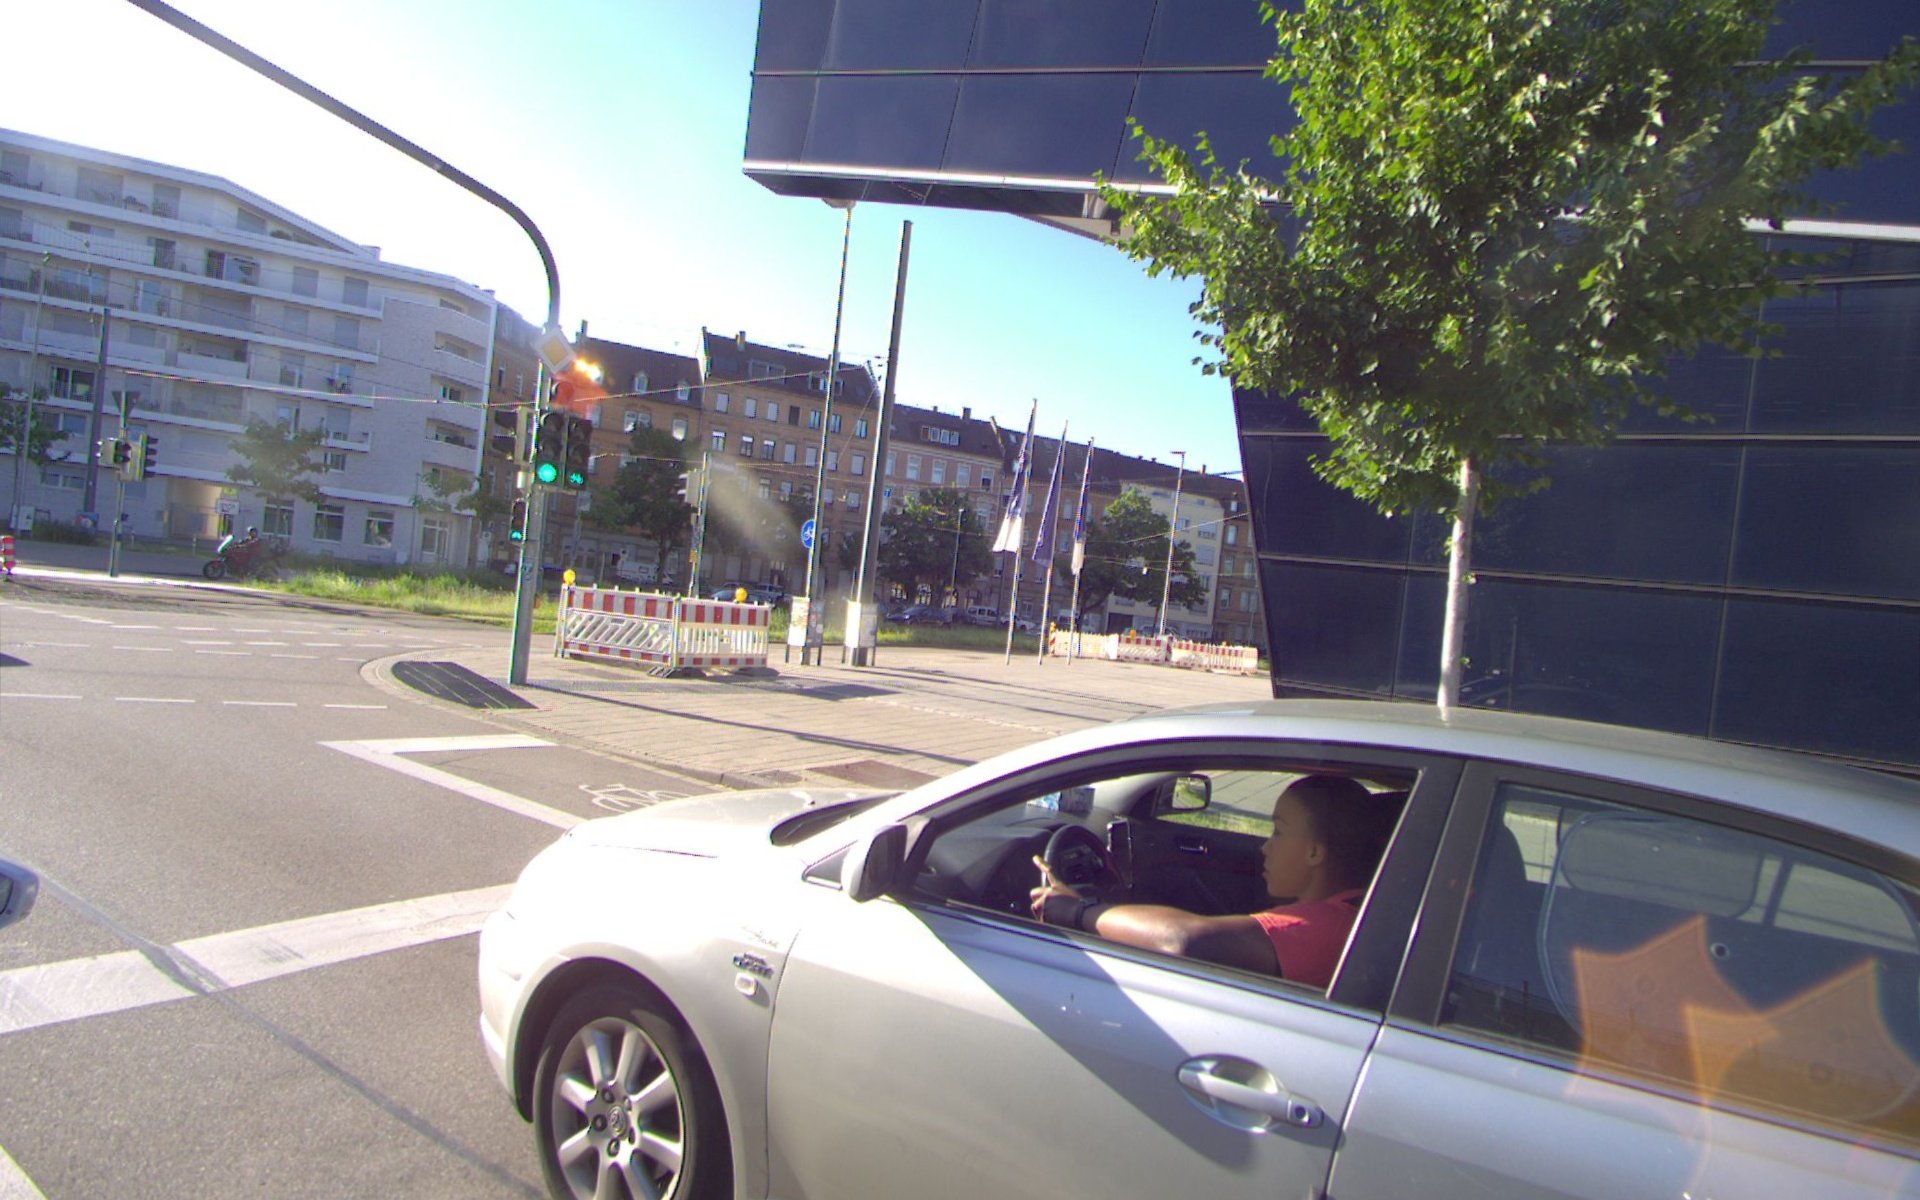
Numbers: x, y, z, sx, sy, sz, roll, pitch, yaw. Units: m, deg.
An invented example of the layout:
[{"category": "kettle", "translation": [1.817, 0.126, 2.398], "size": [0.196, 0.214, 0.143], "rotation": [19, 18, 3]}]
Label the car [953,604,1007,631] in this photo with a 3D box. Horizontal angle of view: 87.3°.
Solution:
[{"category": "car", "translation": [1.649, 1.464, 84.581], "size": [3.934, 1.794, 1.995], "rotation": [6, 0, 31]}]

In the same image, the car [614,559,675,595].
[{"category": "car", "translation": [-25.750, -1.873, 82.092], "size": [4.537, 2.339, 1.991], "rotation": [7, 0, -20]}]

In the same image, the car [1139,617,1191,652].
[{"category": "car", "translation": [18.866, 3.170, 92.787], "size": [3.940, 2.439, 1.991], "rotation": [13, 5, 39]}]

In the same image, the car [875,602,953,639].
[{"category": "car", "translation": [-2.581, 1.218, 57.762], "size": [1.969, 1.637, 4.529], "rotation": [6, -1, 35]}]

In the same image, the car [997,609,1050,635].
[{"category": "car", "translation": [5.407, 1.855, 86.158], "size": [3.934, 1.794, 1.995], "rotation": [6, 0, 31]}]

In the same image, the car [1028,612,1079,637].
[{"category": "car", "translation": [8.202, 2.136, 88.370], "size": [3.934, 1.794, 1.995], "rotation": [6, 0, 31]}]

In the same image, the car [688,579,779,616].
[{"category": "car", "translation": [-10.571, -0.097, 47.245], "size": [1.740, 1.417, 4.248], "rotation": [3, -2, 29]}]

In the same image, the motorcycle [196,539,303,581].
[{"category": "motorcycle", "translation": [-22.387, -1.243, 31.767], "size": [1.153, 1.013, 2.454], "rotation": [6, 0, 33]}]

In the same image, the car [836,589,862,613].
[{"category": "car", "translation": [-9.182, 0.072, 83.421], "size": [1.964, 1.794, 3.995], "rotation": [5, 0, -6]}]

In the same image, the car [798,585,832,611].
[{"category": "car", "translation": [-11.652, -0.160, 80.449], "size": [1.969, 1.794, 3.985], "rotation": [5, 0, -17]}]

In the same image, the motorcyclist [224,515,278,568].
[{"category": "motorcyclist", "translation": [-22.347, -1.829, 31.716], "size": [1.153, 1.500, 0.925], "rotation": [6, 0, 34]}]

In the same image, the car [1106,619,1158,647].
[{"category": "car", "translation": [15.510, 3.002, 90.868], "size": [3.940, 1.795, 1.991], "rotation": [12, 4, 39]}]

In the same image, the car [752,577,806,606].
[{"category": "car", "translation": [-14.101, -0.665, 78.172], "size": [3.944, 1.794, 1.990], "rotation": [6, 0, 41]}]

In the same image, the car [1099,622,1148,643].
[{"category": "car", "translation": [16.376, 3.265, 101.005], "size": [4.352, 1.743, 1.989], "rotation": [6, 0, -23]}]

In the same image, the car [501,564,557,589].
[{"category": "car", "translation": [-30.418, -1.640, 71.145], "size": [1.962, 1.505, 4.000], "rotation": [5, 0, 3]}]

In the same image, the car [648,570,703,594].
[{"category": "car", "translation": [-21.007, -1.362, 74.137], "size": [3.944, 1.371, 1.990], "rotation": [5, 0, 41]}]

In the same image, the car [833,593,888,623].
[{"category": "car", "translation": [-8.903, 0.721, 90.039], "size": [4.352, 2.217, 1.989], "rotation": [5, 0, -23]}]

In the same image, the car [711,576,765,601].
[{"category": "car", "translation": [-16.961, -0.897, 76.799], "size": [3.944, 1.505, 1.990], "rotation": [5, 0, 41]}]

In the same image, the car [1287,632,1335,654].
[{"category": "car", "translation": [34.893, 4.297, 100.053], "size": [3.938, 1.794, 1.993], "rotation": [6, 0, 36]}]

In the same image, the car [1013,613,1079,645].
[{"category": "car", "translation": [5.750, 1.947, 67.281], "size": [4.069, 1.638, 1.978], "rotation": [7, 0, -40]}]

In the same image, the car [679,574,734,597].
[{"category": "car", "translation": [-19.052, -1.114, 75.563], "size": [3.944, 1.371, 1.990], "rotation": [5, 0, 41]}]

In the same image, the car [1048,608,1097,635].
[{"category": "car", "translation": [11.053, 2.083, 98.858], "size": [4.126, 2.217, 1.992], "rotation": [5, 0, -18]}]

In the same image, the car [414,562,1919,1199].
[{"category": "car", "translation": [1.047, 0.914, 2.137], "size": [4.551, 1.499, 1.748], "rotation": [6, 0, 32]}]
